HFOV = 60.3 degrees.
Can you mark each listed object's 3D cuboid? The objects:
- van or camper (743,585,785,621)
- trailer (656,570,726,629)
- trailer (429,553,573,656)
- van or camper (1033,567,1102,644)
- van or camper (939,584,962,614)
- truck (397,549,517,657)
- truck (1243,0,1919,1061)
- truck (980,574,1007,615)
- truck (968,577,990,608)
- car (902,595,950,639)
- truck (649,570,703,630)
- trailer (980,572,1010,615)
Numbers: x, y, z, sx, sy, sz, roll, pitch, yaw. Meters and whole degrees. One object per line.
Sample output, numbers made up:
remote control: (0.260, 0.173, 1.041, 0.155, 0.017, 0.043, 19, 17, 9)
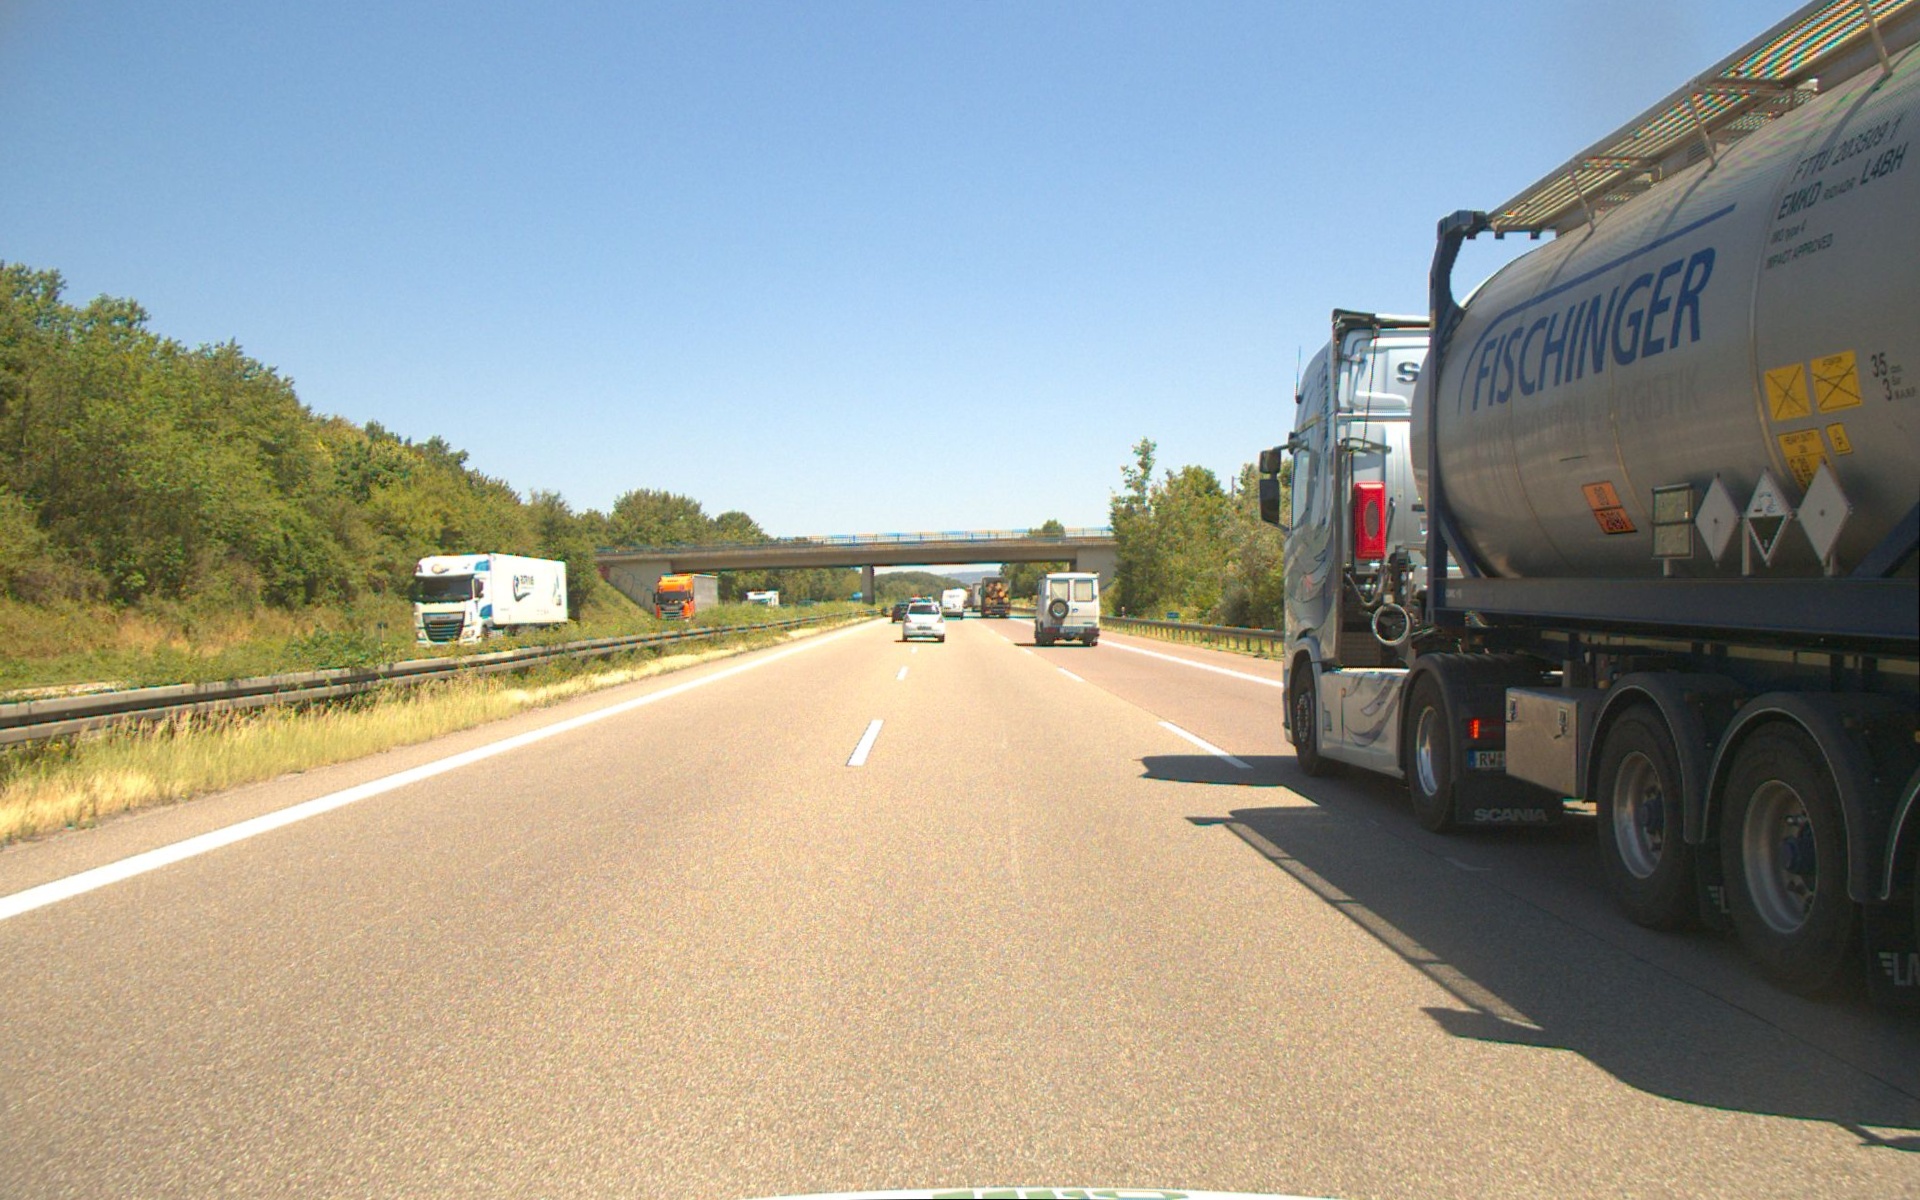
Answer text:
van or camper: (-16.945, 0.278, 143.529, 2.559, 3.018, 7.859, 1, 0, 0)
trailer: (-21.041, 0.009, 130.463, 3.080, 4.322, 14.478, 1, 0, 0)
trailer: (-20.766, 0.204, 75.838, 3.111, 4.264, 12.984, 1, 0, -1)
van or camper: (4.017, 0.213, 62.706, 2.071, 2.750, 6.366, 0, 0, -1)
van or camper: (-0.814, -0.061, 147.914, 2.016, 2.668, 5.985, 0, 0, 0)
truck: (-20.697, 0.133, 68.451, 3.129, 4.221, 5.942, 1, 0, -1)
truck: (4.497, -0.484, 10.807, 2.742, 4.117, 13.351, 1, 0, -1)
truck: (3.349, -0.570, 167.771, 2.615, 4.064, 6.636, 0, 0, 0)
truck: (2.790, -1.041, 240.278, 3.015, 4.283, 16.843, 1, 0, 1)
car: (-1.369, 0.671, 65.945, 1.819, 1.681, 3.999, 1, 0, -2)
truck: (-21.037, -0.025, 122.760, 3.073, 4.305, 5.175, 1, 0, 0)
trailer: (3.338, -0.624, 160.690, 2.599, 4.028, 13.635, 0, 0, 0)
